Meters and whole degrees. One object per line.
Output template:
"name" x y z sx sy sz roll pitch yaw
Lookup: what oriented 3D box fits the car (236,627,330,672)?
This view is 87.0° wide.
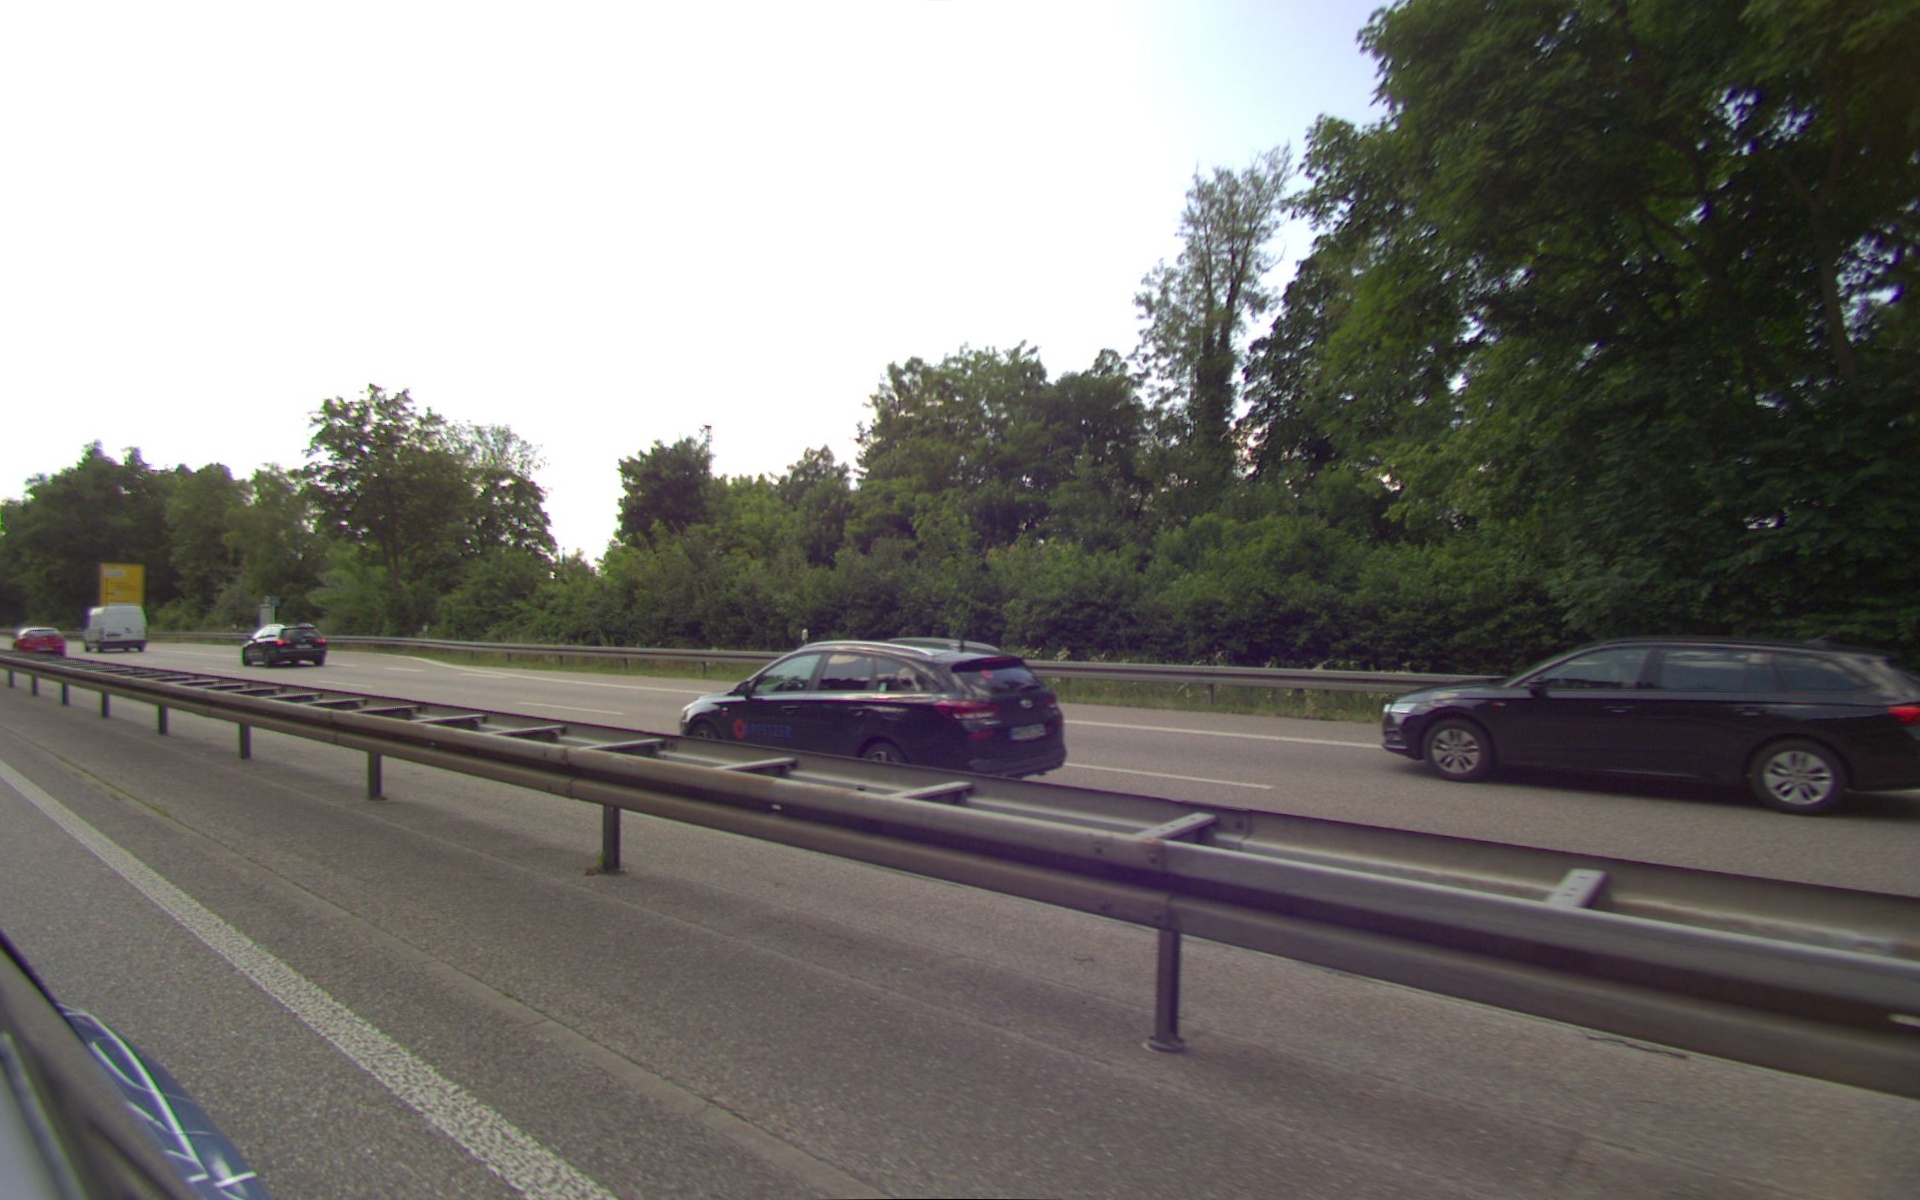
"car" -24.752 1.743 36.946 4.568 1.489 1.767 -1 0 42

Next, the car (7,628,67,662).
"car" -43.210 2.089 47.349 4.126 1.465 1.661 -1 0 42

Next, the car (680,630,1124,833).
"car" -0.717 1.064 9.795 4.263 1.531 1.762 -1 -2 41

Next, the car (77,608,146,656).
"car" -46.753 1.727 55.725 5.828 2.441 2.089 -1 0 42

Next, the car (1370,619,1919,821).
"car" 6.679 0.979 9.633 4.855 1.531 1.663 -1 0 41
